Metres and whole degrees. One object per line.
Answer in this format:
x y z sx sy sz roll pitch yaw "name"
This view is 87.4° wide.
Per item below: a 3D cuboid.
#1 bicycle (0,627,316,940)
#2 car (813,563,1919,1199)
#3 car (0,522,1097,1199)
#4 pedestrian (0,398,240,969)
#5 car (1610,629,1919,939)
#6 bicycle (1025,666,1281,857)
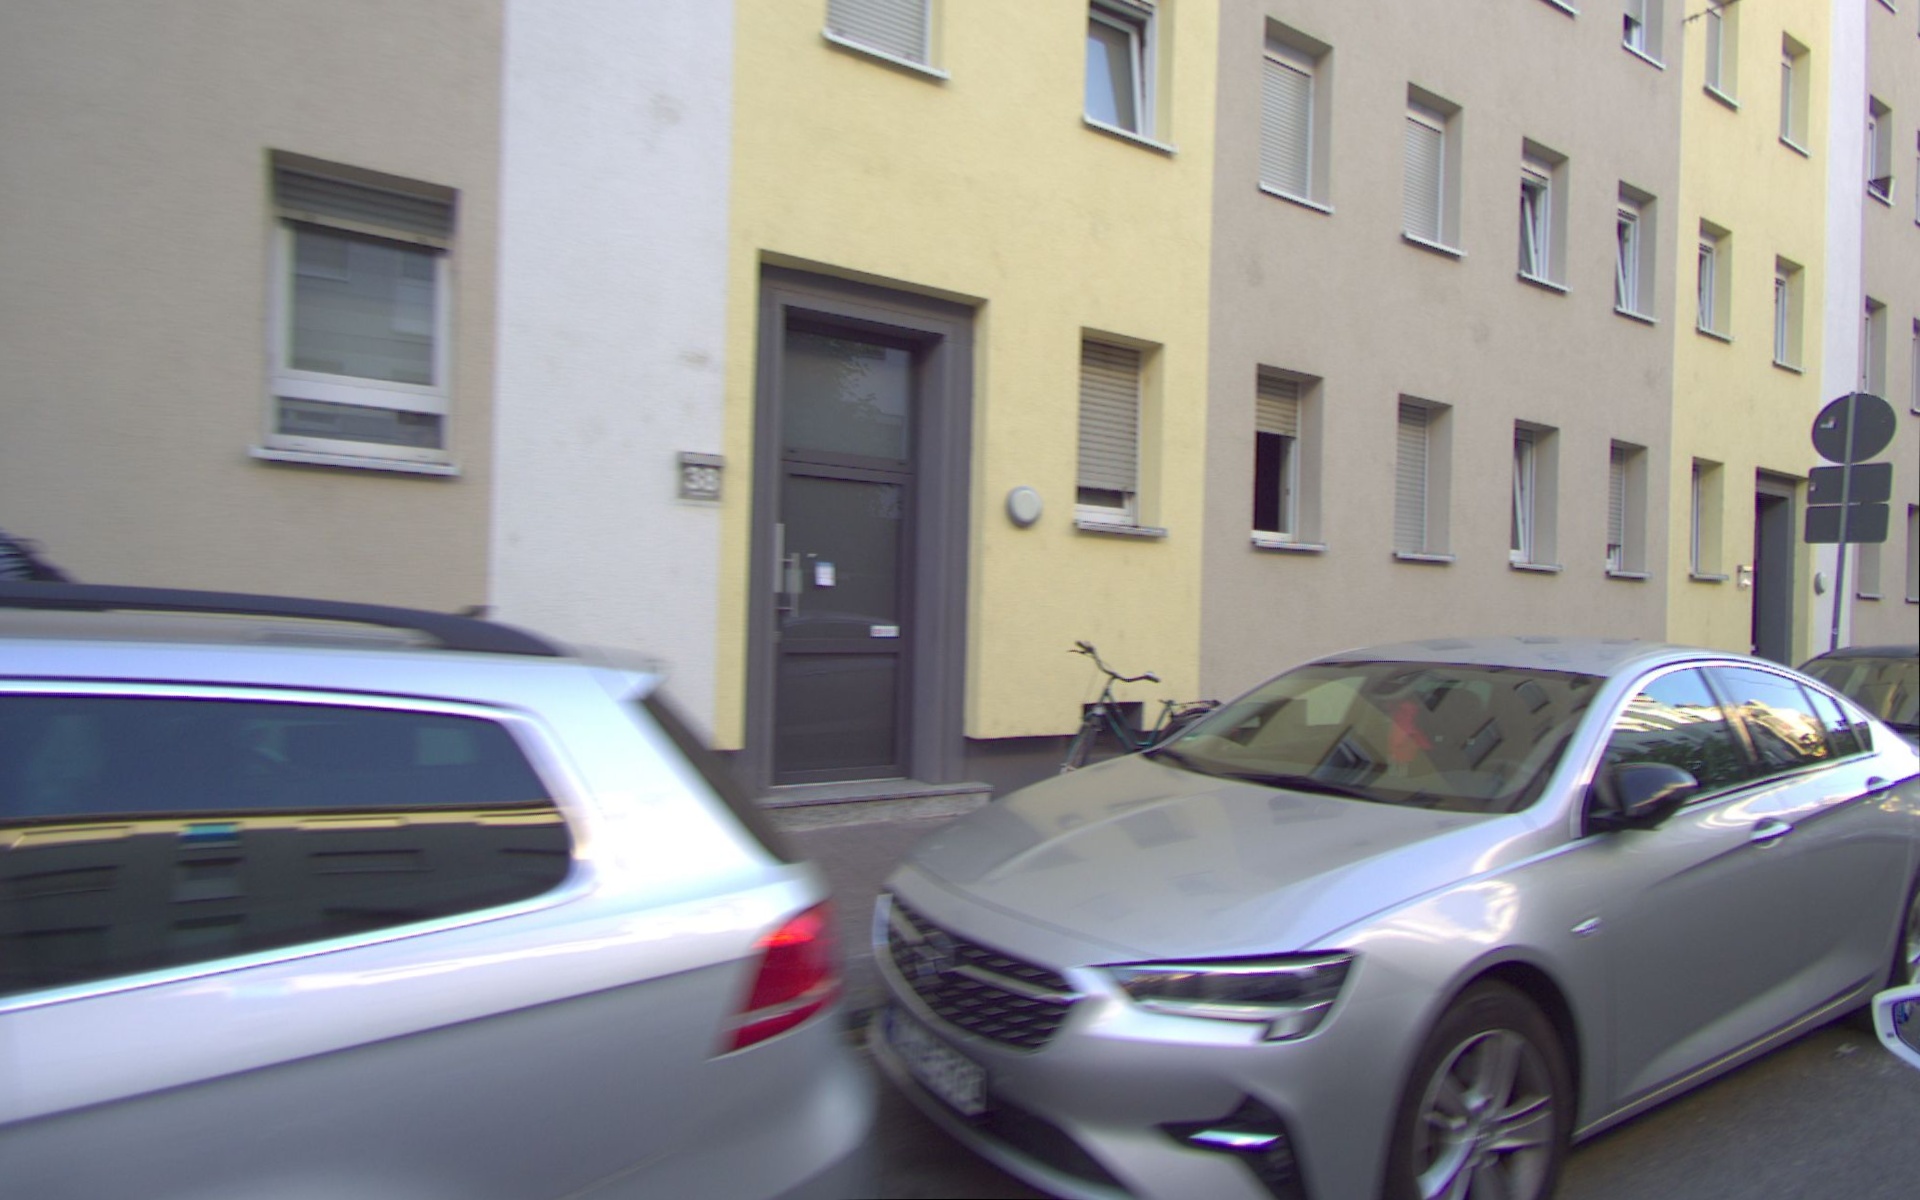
-3.726 0.731 4.180 1.714 1.184 0.474 3 2 -33 "bicycle"
1.947 0.791 3.785 4.565 1.508 1.913 3 -2 -31 "car"
-2.203 0.656 1.301 4.567 1.508 1.912 3 -2 -32 "car"
-3.229 0.264 3.462 1.079 1.784 0.785 2 -2 -30 "pedestrian"
6.307 1.003 6.549 4.371 1.508 1.770 3 -2 -31 "car"
1.413 1.083 7.166 1.904 1.184 0.606 3 -2 -33 "bicycle"
